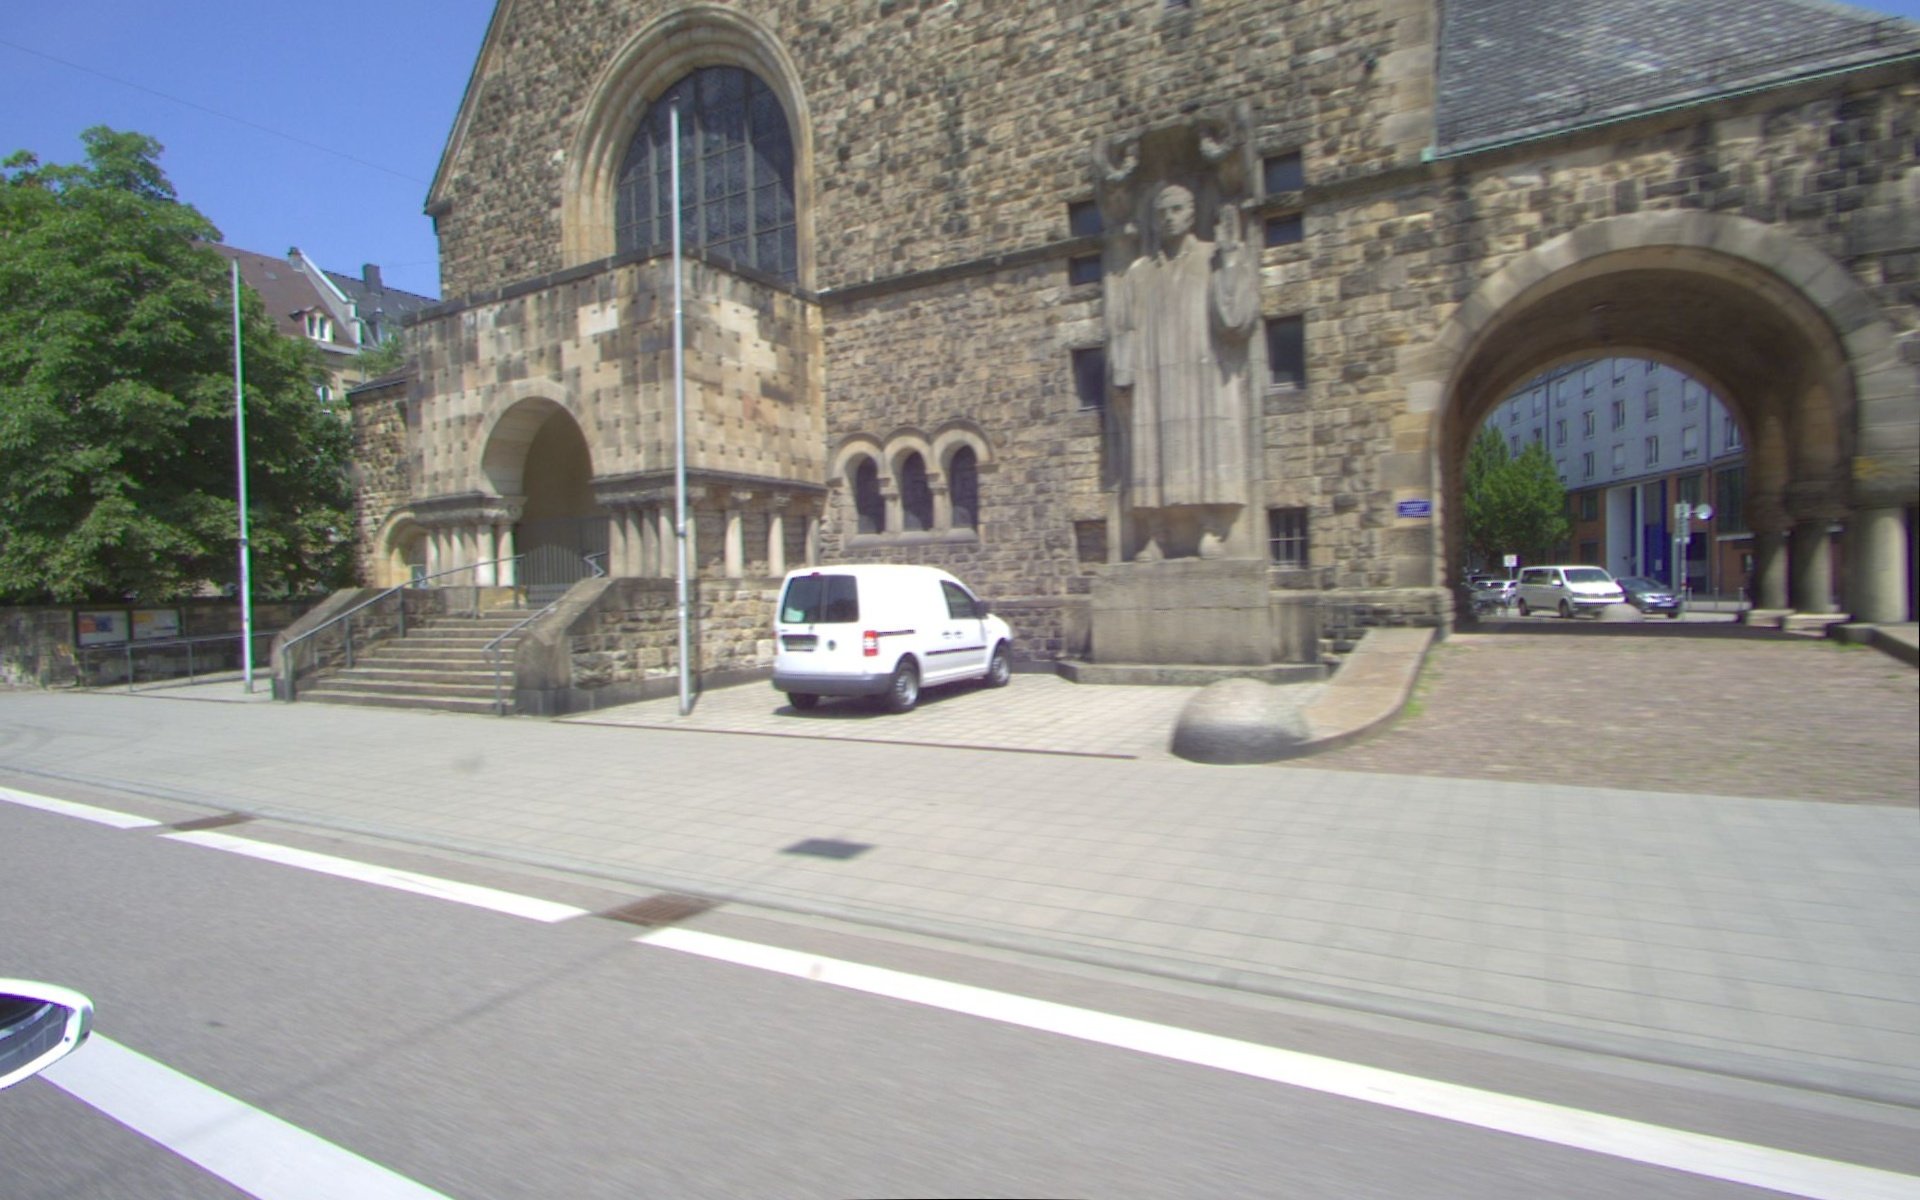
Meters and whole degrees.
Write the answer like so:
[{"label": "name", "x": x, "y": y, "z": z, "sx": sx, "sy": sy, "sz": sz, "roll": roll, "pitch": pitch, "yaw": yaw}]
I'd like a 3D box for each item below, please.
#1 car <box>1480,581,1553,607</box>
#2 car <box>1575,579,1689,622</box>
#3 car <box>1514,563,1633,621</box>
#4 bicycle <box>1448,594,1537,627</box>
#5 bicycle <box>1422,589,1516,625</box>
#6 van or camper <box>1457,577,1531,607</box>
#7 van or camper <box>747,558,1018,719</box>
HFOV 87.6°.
[{"label": "car", "x": 34.533, "y": -0.365, "z": 62.183, "sx": 3.929, "sy": 1.569, "sz": 1.746, "roll": -1, "pitch": 0, "yaw": -18}, {"label": "car", "x": 25.446, "y": 0.012, "z": 38.077, "sx": 1.961, "sy": 1.476, "sz": 3.998, "roll": -1, "pitch": 0, "yaw": 7}, {"label": "car", "x": 23.149, "y": -0.289, "z": 38.028, "sx": 2.006, "sy": 2.031, "sz": 4.966, "roll": -1, "pitch": 0, "yaw": 8}, {"label": "bicycle", "x": 17.123, "y": 0.344, "z": 32.227, "sx": 2.463, "sy": 1.025, "sz": 0.702, "roll": -1, "pitch": 1, "yaw": 33}, {"label": "bicycle", "x": 15.266, "y": 0.223, "z": 30.070, "sx": 2.463, "sy": 1.025, "sz": 0.702, "roll": -1, "pitch": 1, "yaw": 33}, {"label": "van or camper", "x": 34.849, "y": -0.546, "z": 65.364, "sx": 4.253, "sy": 1.862, "sz": 1.994, "roll": -1, "pitch": 1, "yaw": -21}, {"label": "van or camper", "x": -0.879, "y": 0.398, "z": 13.757, "sx": 1.776, "sy": 1.850, "sz": 3.980, "roll": -1, "pitch": 2, "yaw": 29}]
